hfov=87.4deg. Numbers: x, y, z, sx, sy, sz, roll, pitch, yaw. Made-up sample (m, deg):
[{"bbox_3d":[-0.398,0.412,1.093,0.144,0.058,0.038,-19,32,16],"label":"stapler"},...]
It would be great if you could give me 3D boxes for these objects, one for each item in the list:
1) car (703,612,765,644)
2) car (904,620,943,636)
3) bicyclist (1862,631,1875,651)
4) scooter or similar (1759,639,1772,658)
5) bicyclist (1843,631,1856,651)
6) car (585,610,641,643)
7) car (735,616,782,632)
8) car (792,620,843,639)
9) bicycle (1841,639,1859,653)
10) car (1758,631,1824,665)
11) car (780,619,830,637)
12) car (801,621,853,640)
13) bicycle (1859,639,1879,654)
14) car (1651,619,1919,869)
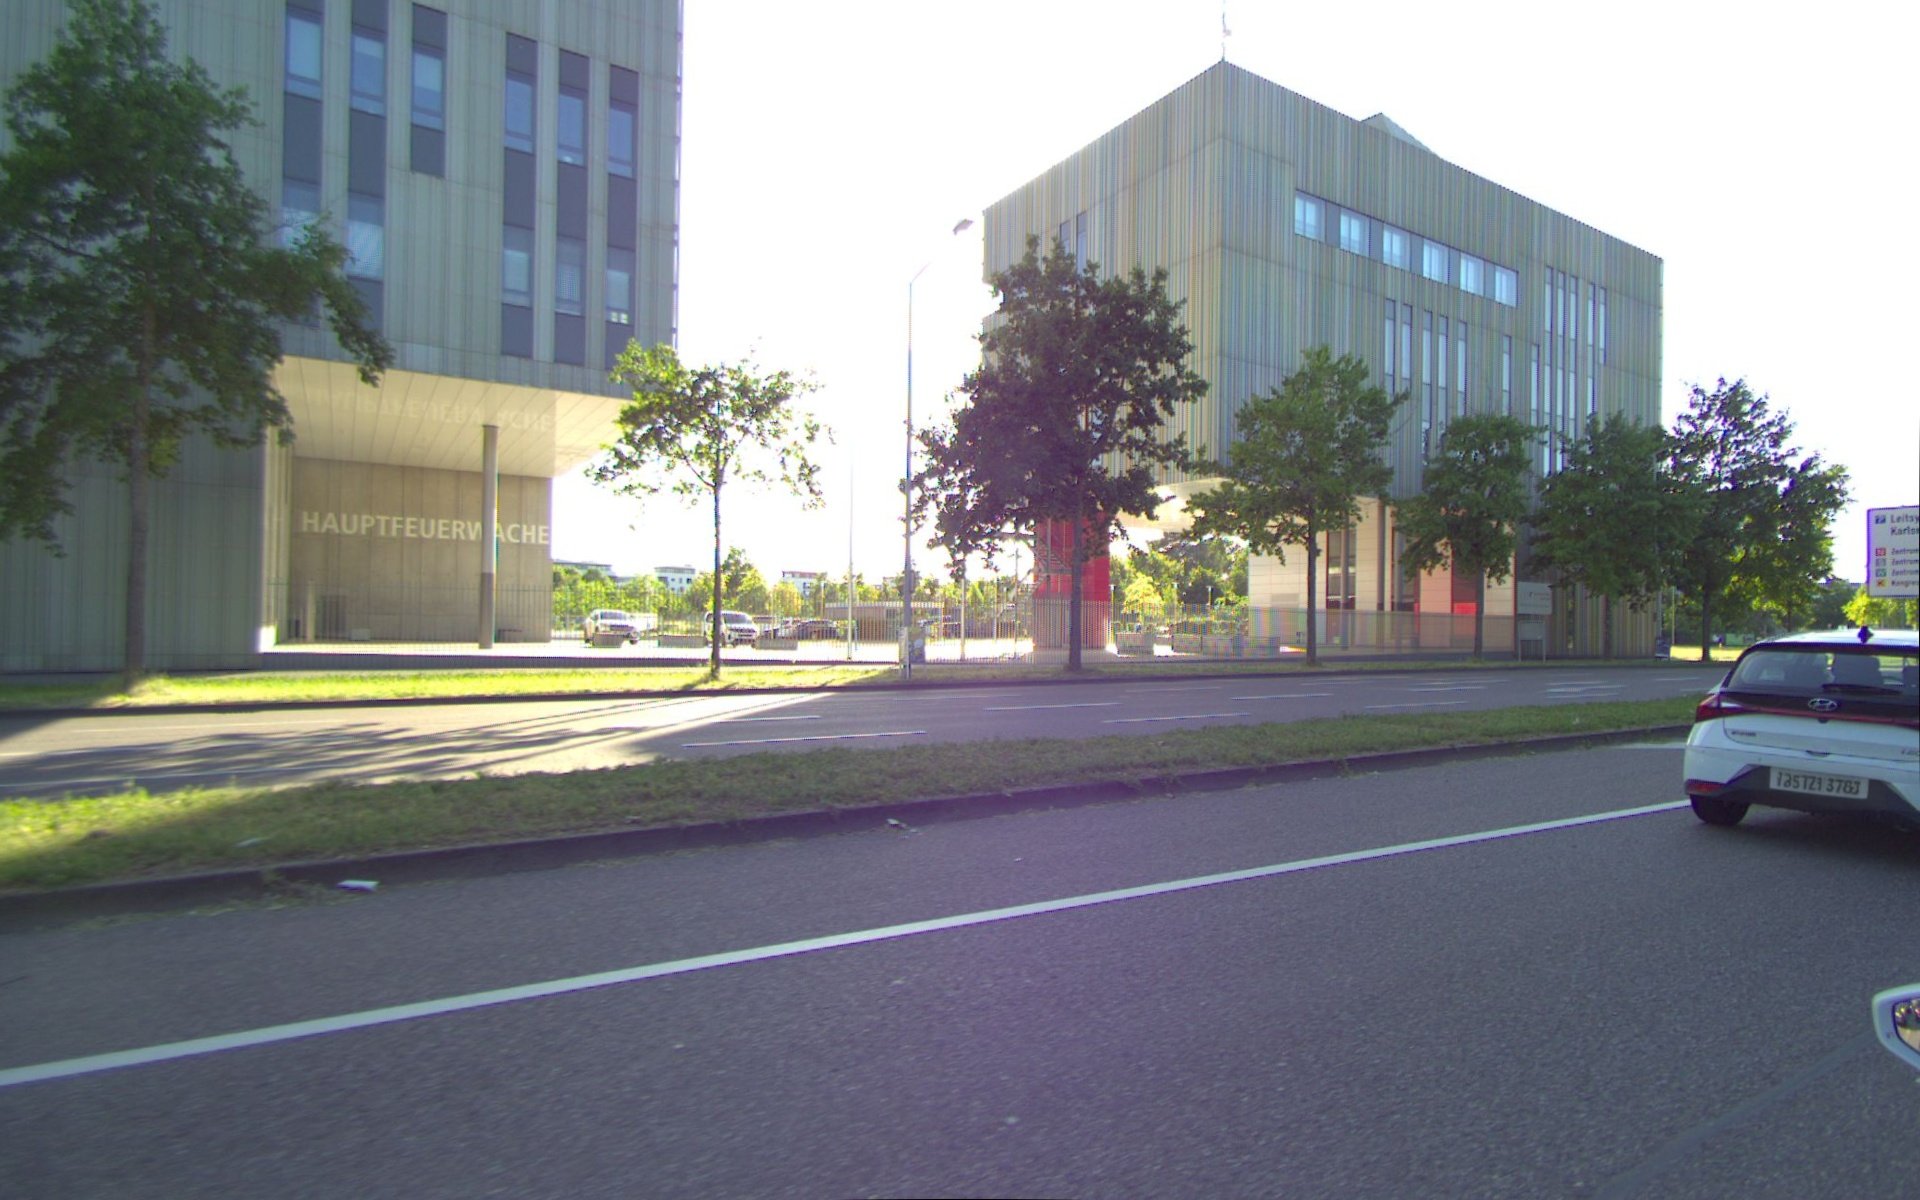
[{"bbox_3d":[-11.540,1.411,51.115,1.912,1.523,4.367,1,-1,-30],"label":"car"},{"bbox_3d":[-3.414,2.632,93.536,3.408,1.401,1.421,2,-1,-35],"label":"car"},{"bbox_3d":[65.648,2.965,72.561,0.739,1.410,0.559,2,-1,-33],"label":"bicyclist"},{"bbox_3d":[49.617,2.964,61.866,1.313,1.164,0.230,2,-1,-33],"label":"scooter or similar"},{"bbox_3d":[65.031,2.991,73.441,0.835,1.413,0.479,2,-1,-34],"label":"bicyclist"},{"bbox_3d":[-16.682,1.248,48.167,1.741,1.472,4.236,1,-1,-30],"label":"car"},{"bbox_3d":[-15.909,1.905,79.429,3.348,1.275,1.354,1,-1,-34],"label":"car"},{"bbox_3d":[-10.100,2.098,71.469,3.348,1.275,1.354,1,-1,-34],"label":"car"},{"bbox_3d":[65.102,3.349,73.486,2.074,1.016,0.484,2,-1,-34],"label":"bicycle"},{"bbox_3d":[37.762,2.144,45.627,3.424,1.455,1.437,1,-1,-34],"label":"car"},{"bbox_3d":[-11.298,2.047,73.206,3.348,1.275,1.354,1,-1,-34],"label":"car"},{"bbox_3d":[-9.291,2.117,70.208,3.348,1.275,1.354,1,-1,-34],"label":"car"},{"bbox_3d":[65.699,3.348,72.592,2.074,1.016,0.566,2,-1,-34],"label":"bicycle"},{"bbox_3d":[7.039,0.885,7.354,4.028,1.427,1.769,1,0,-31],"label":"car"}]
